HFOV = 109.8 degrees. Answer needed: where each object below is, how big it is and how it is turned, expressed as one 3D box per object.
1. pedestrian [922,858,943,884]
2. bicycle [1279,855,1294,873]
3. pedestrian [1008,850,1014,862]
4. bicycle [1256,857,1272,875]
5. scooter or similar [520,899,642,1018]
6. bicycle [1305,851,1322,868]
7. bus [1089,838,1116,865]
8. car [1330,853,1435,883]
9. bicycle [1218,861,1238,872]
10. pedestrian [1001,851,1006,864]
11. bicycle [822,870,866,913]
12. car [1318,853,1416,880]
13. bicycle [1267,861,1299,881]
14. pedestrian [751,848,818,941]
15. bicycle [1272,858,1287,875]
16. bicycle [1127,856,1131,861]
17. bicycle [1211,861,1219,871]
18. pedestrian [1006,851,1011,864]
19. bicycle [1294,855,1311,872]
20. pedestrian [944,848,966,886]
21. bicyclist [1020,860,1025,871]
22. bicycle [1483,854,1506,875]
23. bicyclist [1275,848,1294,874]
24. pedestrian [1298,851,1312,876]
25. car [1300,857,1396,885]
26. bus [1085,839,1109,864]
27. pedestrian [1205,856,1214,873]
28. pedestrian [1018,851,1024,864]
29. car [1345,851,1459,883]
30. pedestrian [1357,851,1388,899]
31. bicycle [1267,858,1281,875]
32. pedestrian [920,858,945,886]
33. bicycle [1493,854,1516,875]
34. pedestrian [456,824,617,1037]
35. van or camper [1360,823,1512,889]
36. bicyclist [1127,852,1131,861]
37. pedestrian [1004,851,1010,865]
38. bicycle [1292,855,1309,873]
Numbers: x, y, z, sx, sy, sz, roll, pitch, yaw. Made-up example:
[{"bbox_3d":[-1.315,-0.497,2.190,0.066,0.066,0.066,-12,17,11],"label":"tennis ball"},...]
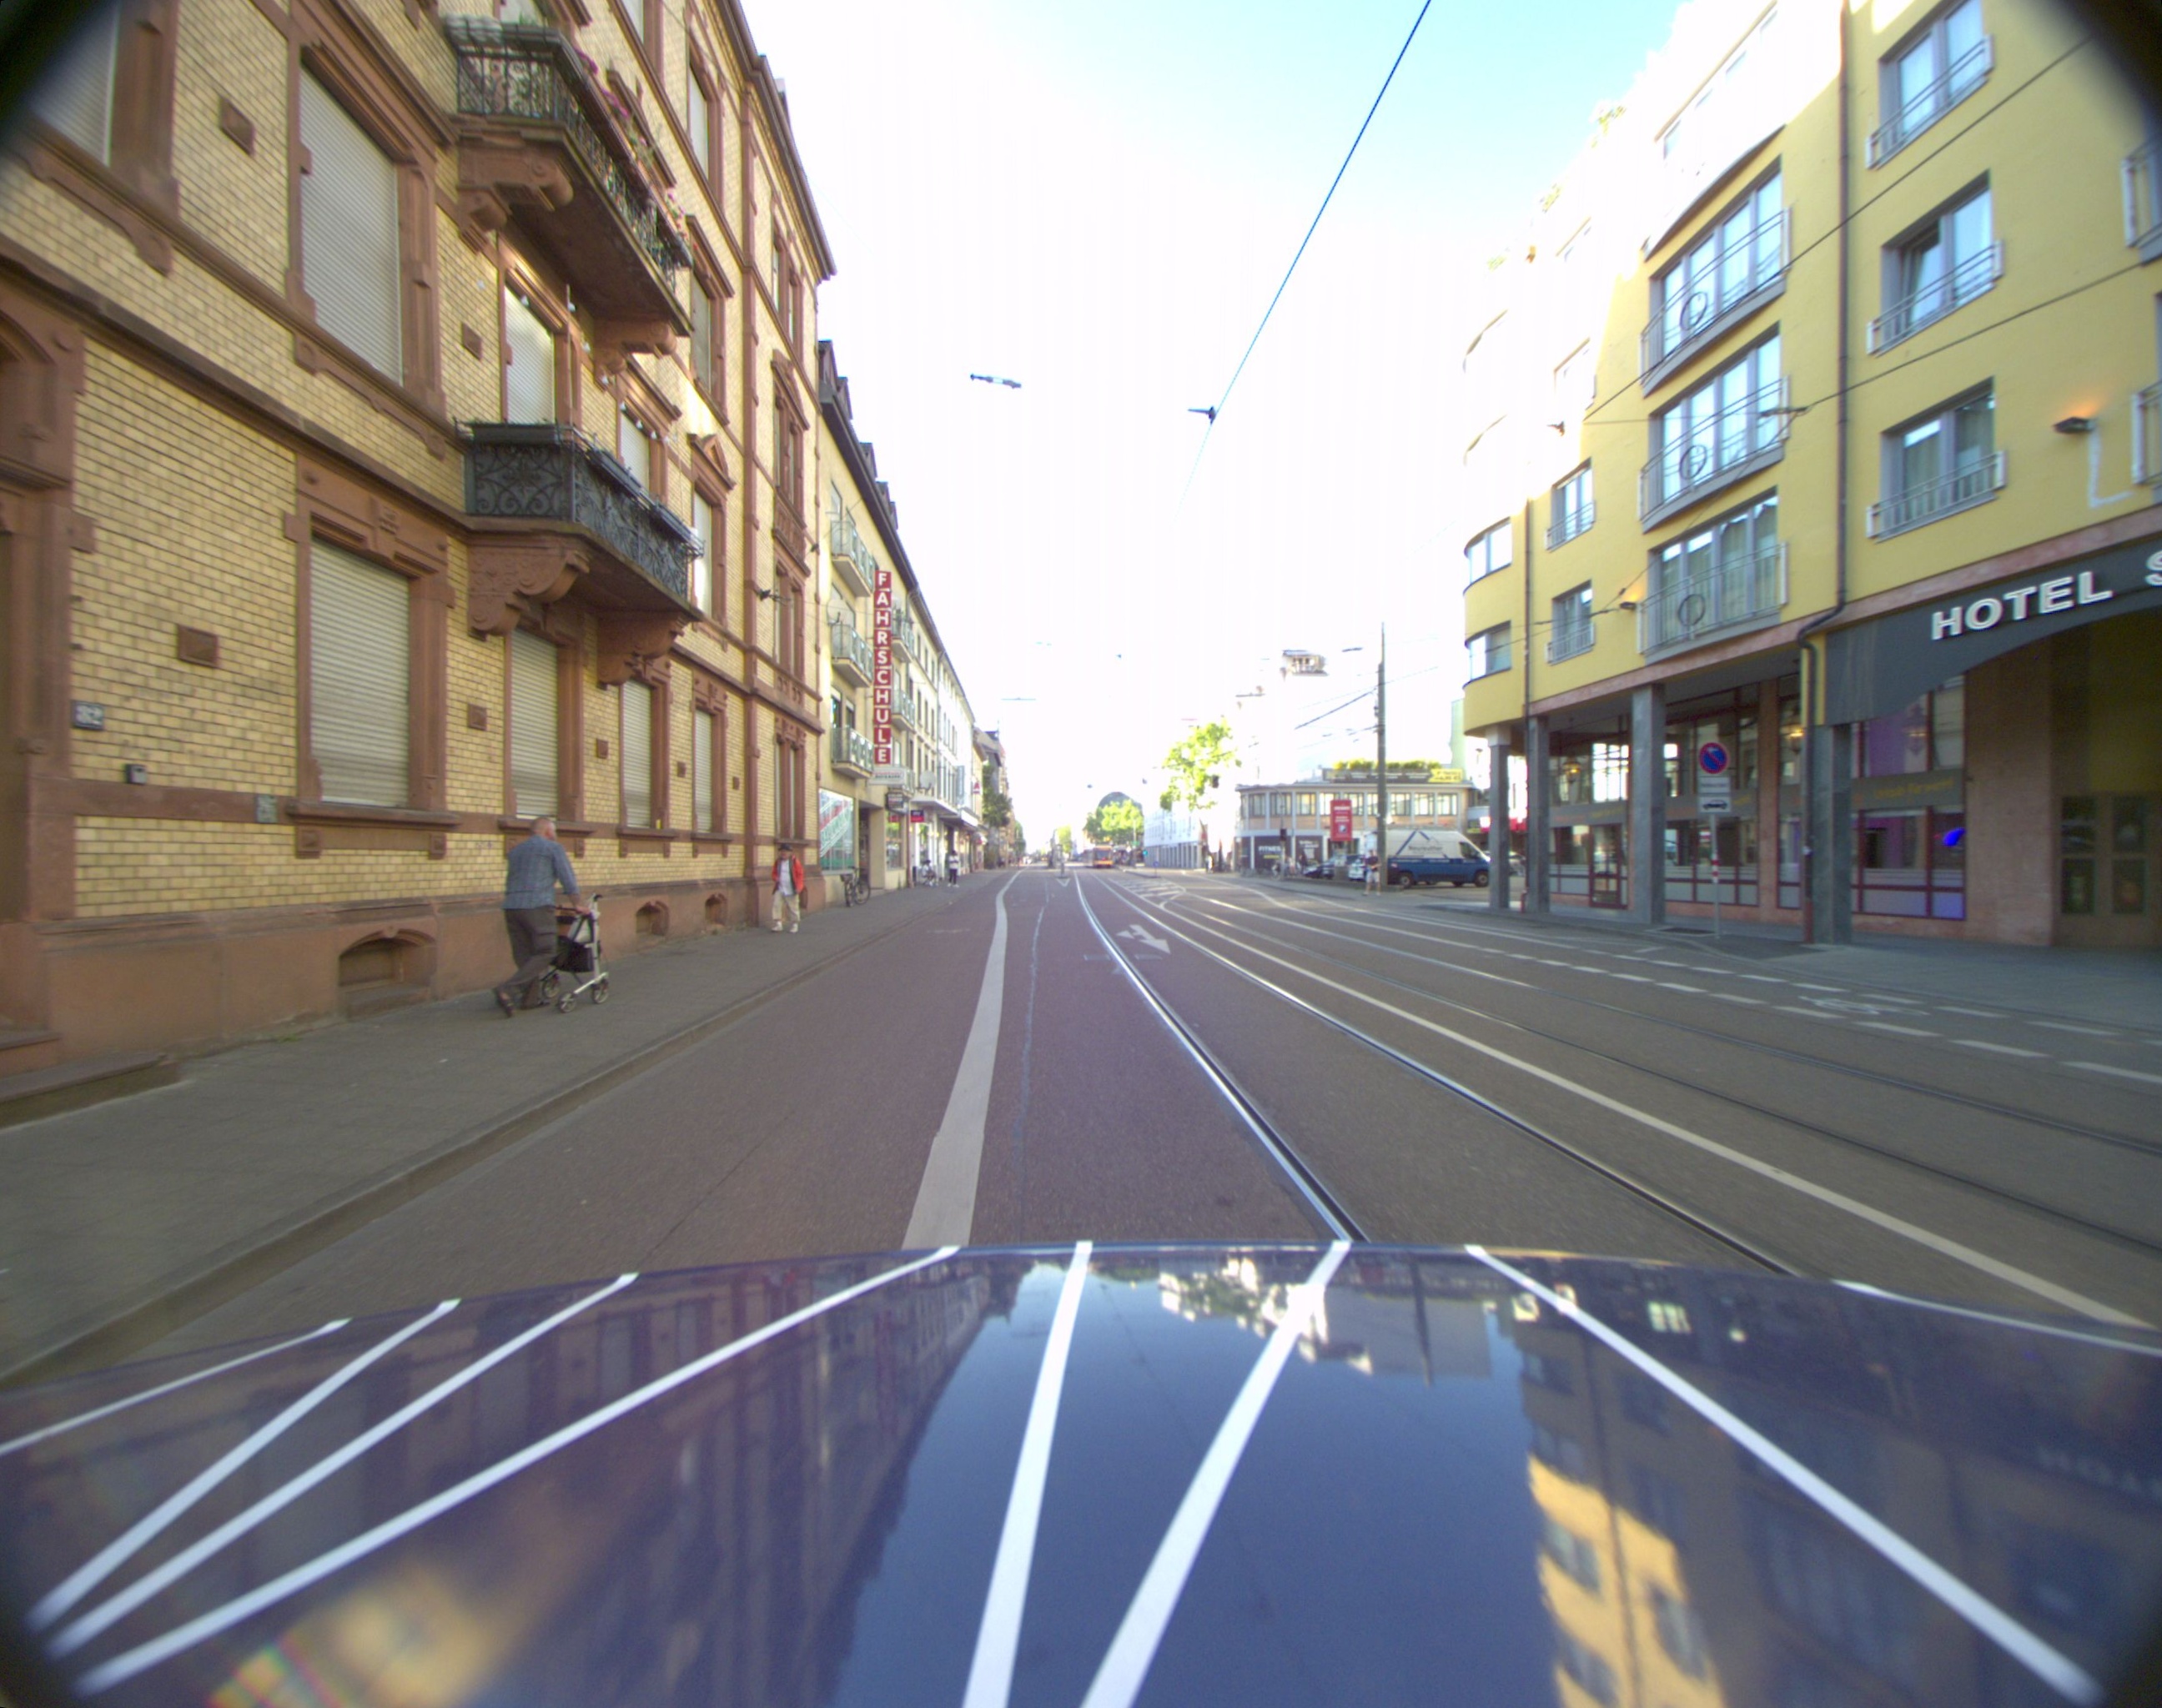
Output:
[{"bbox_3d":[-7.237,0.840,37.064,0.708,1.168,1.014,6,0,-22],"label":"pedestrian"},{"bbox_3d":[14.372,0.694,53.156,0.444,1.180,1.830,0,0,-6],"label":"bicycle"},{"bbox_3d":[-10.103,0.294,109.018,0.807,1.789,0.761,0,1,-3],"label":"pedestrian"},{"bbox_3d":[12.905,0.838,53.527,0.447,1.180,1.830,0,0,-9],"label":"bicycle"},{"bbox_3d":[-4.976,1.026,7.593,0.807,1.064,0.521,4,0,-3],"label":"scooter or similar"},{"bbox_3d":[16.140,0.380,52.700,0.449,1.180,1.830,0,0,-6],"label":"bicycle"},{"bbox_3d":[2.915,-0.358,105.446,2.819,3.547,13.674,0,0,-2],"label":"bus"},{"bbox_3d":[15.273,0.685,38.611,4.601,1.467,1.879,0,0,-3],"label":"car"},{"bbox_3d":[13.961,1.182,72.077,1.849,0.906,0.389,-2,-3,2],"label":"bicycle"},{"bbox_3d":[-10.147,0.457,99.195,0.651,1.569,0.682,0,1,-10],"label":"pedestrian"},{"bbox_3d":[-6.473,0.995,20.889,0.556,1.055,2.310,2,0,-3],"label":"bicycle"},{"bbox_3d":[15.454,0.672,41.177,4.601,1.467,1.879,0,0,-3],"label":"car"},{"bbox_3d":[12.518,1.055,47.004,1.833,1.164,0.681,0,2,-21],"label":"bicycle"},{"bbox_3d":[-5.485,0.738,14.107,0.800,1.618,0.825,5,-1,-2],"label":"pedestrian"},{"bbox_3d":[13.896,0.884,53.230,0.449,1.180,1.830,0,0,-6],"label":"bicycle"},{"bbox_3d":[8.917,0.824,141.395,0.518,0.983,1.726,-2,1,-2],"label":"bicycle"},{"bbox_3d":[12.773,1.151,72.380,0.389,0.907,1.851,-2,1,-2],"label":"bicycle"},{"bbox_3d":[-9.441,0.405,99.235,0.651,1.706,0.805,0,1,-10],"label":"pedestrian"},{"bbox_3d":[15.415,0.630,52.910,0.449,1.180,1.830,0,0,-6],"label":"bicycle"},{"bbox_3d":[-6.227,0.633,37.662,0.705,1.801,0.680,5,0,12],"label":"pedestrian"},{"bbox_3d":[-8.117,1.578,105.044,0.677,1.604,0.837,-1,1,-5],"label":"bicyclist"},{"bbox_3d":[24.041,0.615,44.172,0.432,1.180,1.832,0,0,4],"label":"bicycle"},{"bbox_3d":[12.568,0.437,46.997,0.838,1.541,0.690,0,2,-20],"label":"bicyclist"},{"bbox_3d":[15.142,0.640,51.406,0.683,1.687,0.683,0,0,-5],"label":"pedestrian"},{"bbox_3d":[15.289,0.956,43.672,4.908,1.574,1.879,0,0,-3],"label":"car"},{"bbox_3d":[2.405,-0.387,118.778,2.819,3.547,13.674,0,0,-2],"label":"bus"},{"bbox_3d":[12.412,1.001,73.463,0.630,1.706,0.826,0,1,24],"label":"pedestrian"},{"bbox_3d":[-7.621,0.442,96.899,0.694,1.760,0.697,0,1,2],"label":"pedestrian"},{"bbox_3d":[15.088,0.587,35.844,4.601,1.467,1.879,0,0,-3],"label":"car"},{"bbox_3d":[11.352,0.804,29.624,0.836,1.822,0.909,0,0,-4],"label":"pedestrian"},{"bbox_3d":[13.447,0.865,52.950,0.441,1.180,1.831,0,0,-4],"label":"bicycle"},{"bbox_3d":[-7.053,0.843,36.086,0.833,1.248,0.705,6,0,-38],"label":"pedestrian"},{"bbox_3d":[24.507,0.598,43.978,0.432,1.180,1.832,0,0,4],"label":"bicycle"},{"bbox_3d":[-4.926,0.666,6.933,0.807,1.789,0.761,4,0,-3],"label":"pedestrian"},{"bbox_3d":[15.483,0.095,33.327,5.621,2.810,2.315,0,0,-2],"label":"van or camper"},{"bbox_3d":[8.941,0.480,141.418,0.515,1.690,0.807,-2,1,-2],"label":"bicyclist"},{"bbox_3d":[-9.710,0.548,99.327,0.650,1.760,0.697,0,1,2],"label":"pedestrian"},{"bbox_3d":[15.006,0.694,51.928,0.449,1.180,1.830,0,0,-6],"label":"bicycle"}]
